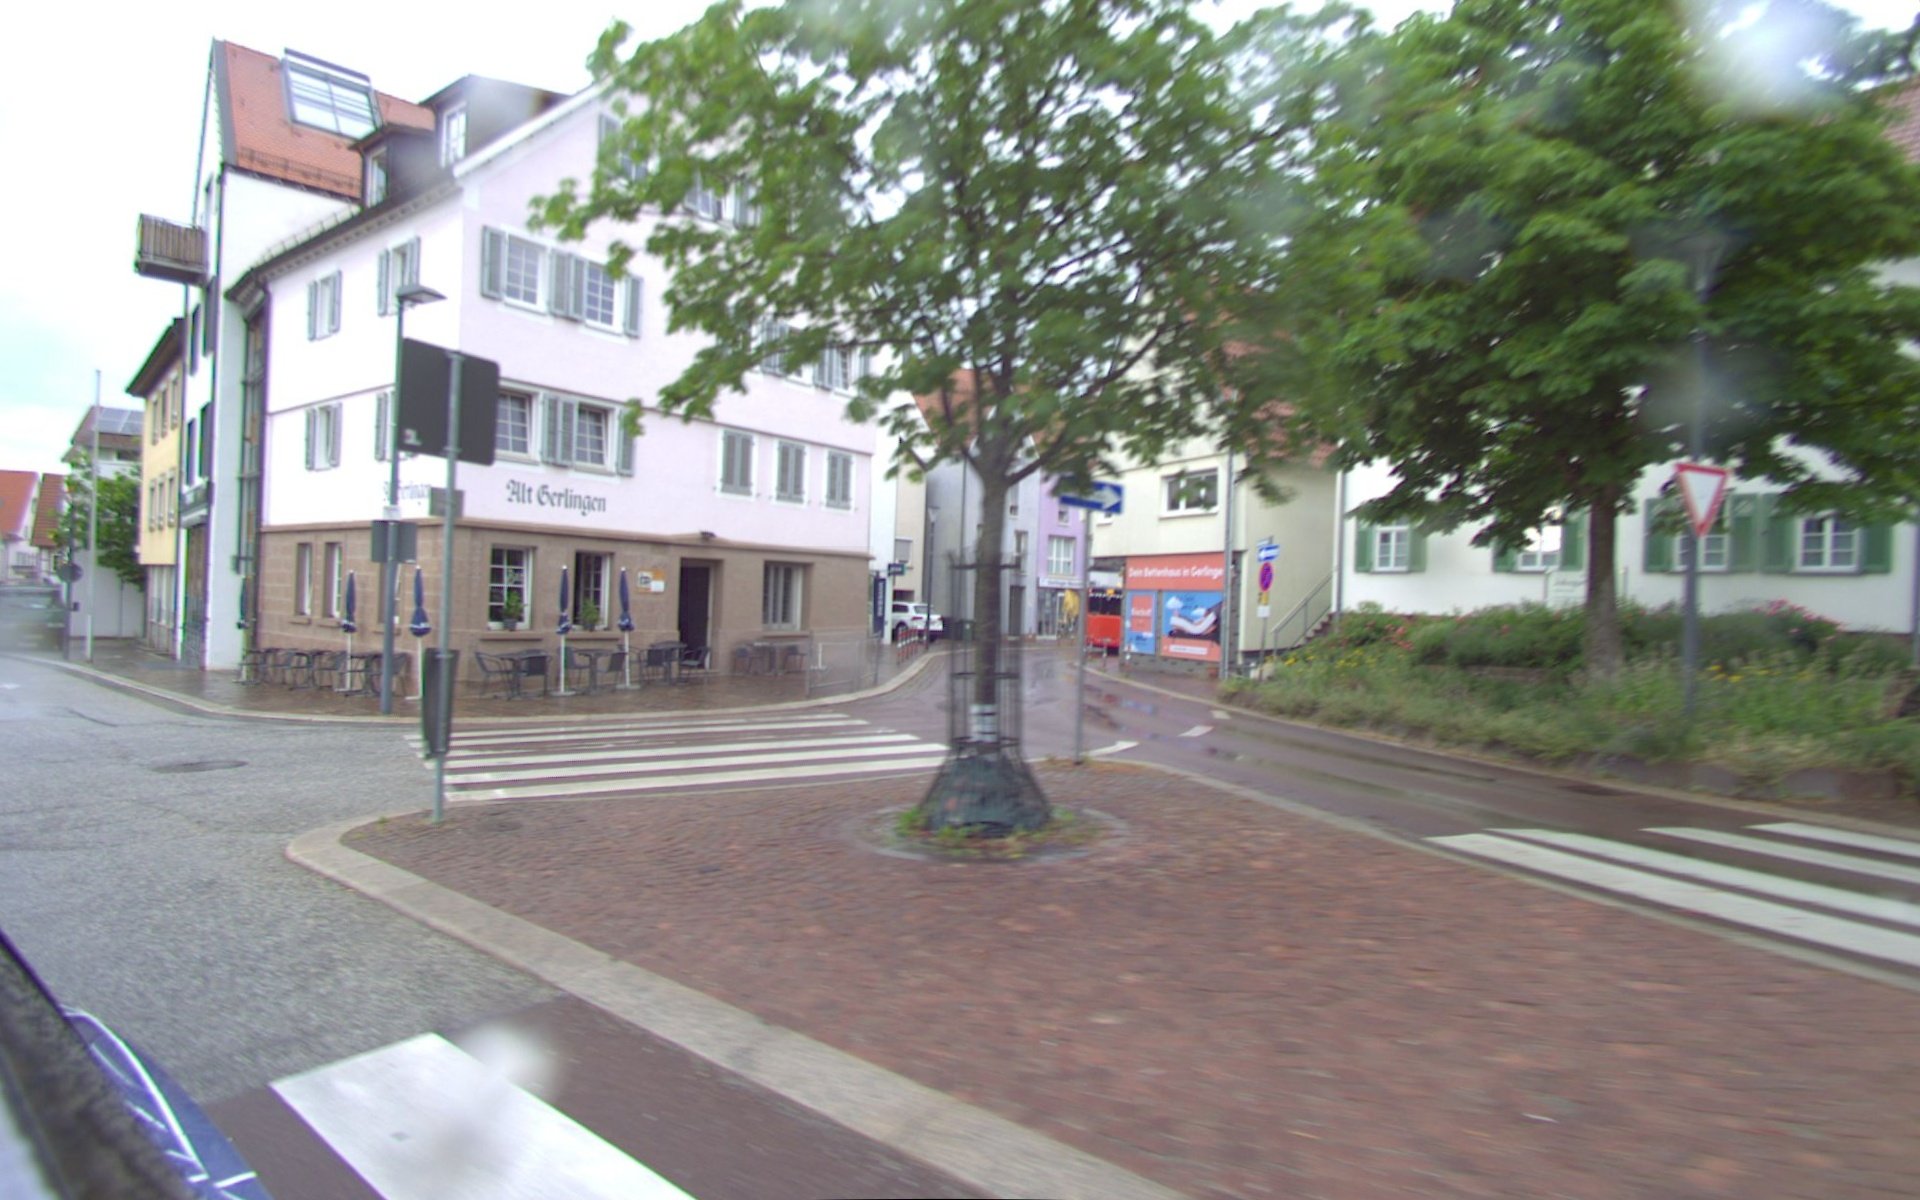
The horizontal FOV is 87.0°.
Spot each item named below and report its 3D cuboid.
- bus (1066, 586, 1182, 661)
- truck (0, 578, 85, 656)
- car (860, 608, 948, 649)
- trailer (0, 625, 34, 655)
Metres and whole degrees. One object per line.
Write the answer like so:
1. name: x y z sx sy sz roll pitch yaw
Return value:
1. bus: 8.390 1.260 50.220 2.836 3.283 10.525 1 -2 25
2. truck: -34.091 0.716 36.800 6.476 2.615 2.375 -3 -3 40
3. car: -2.479 1.219 43.902 1.802 1.634 3.896 4 -2 -40
4. trailer: -37.862 1.599 39.677 3.016 1.133 1.834 -3 -3 39
